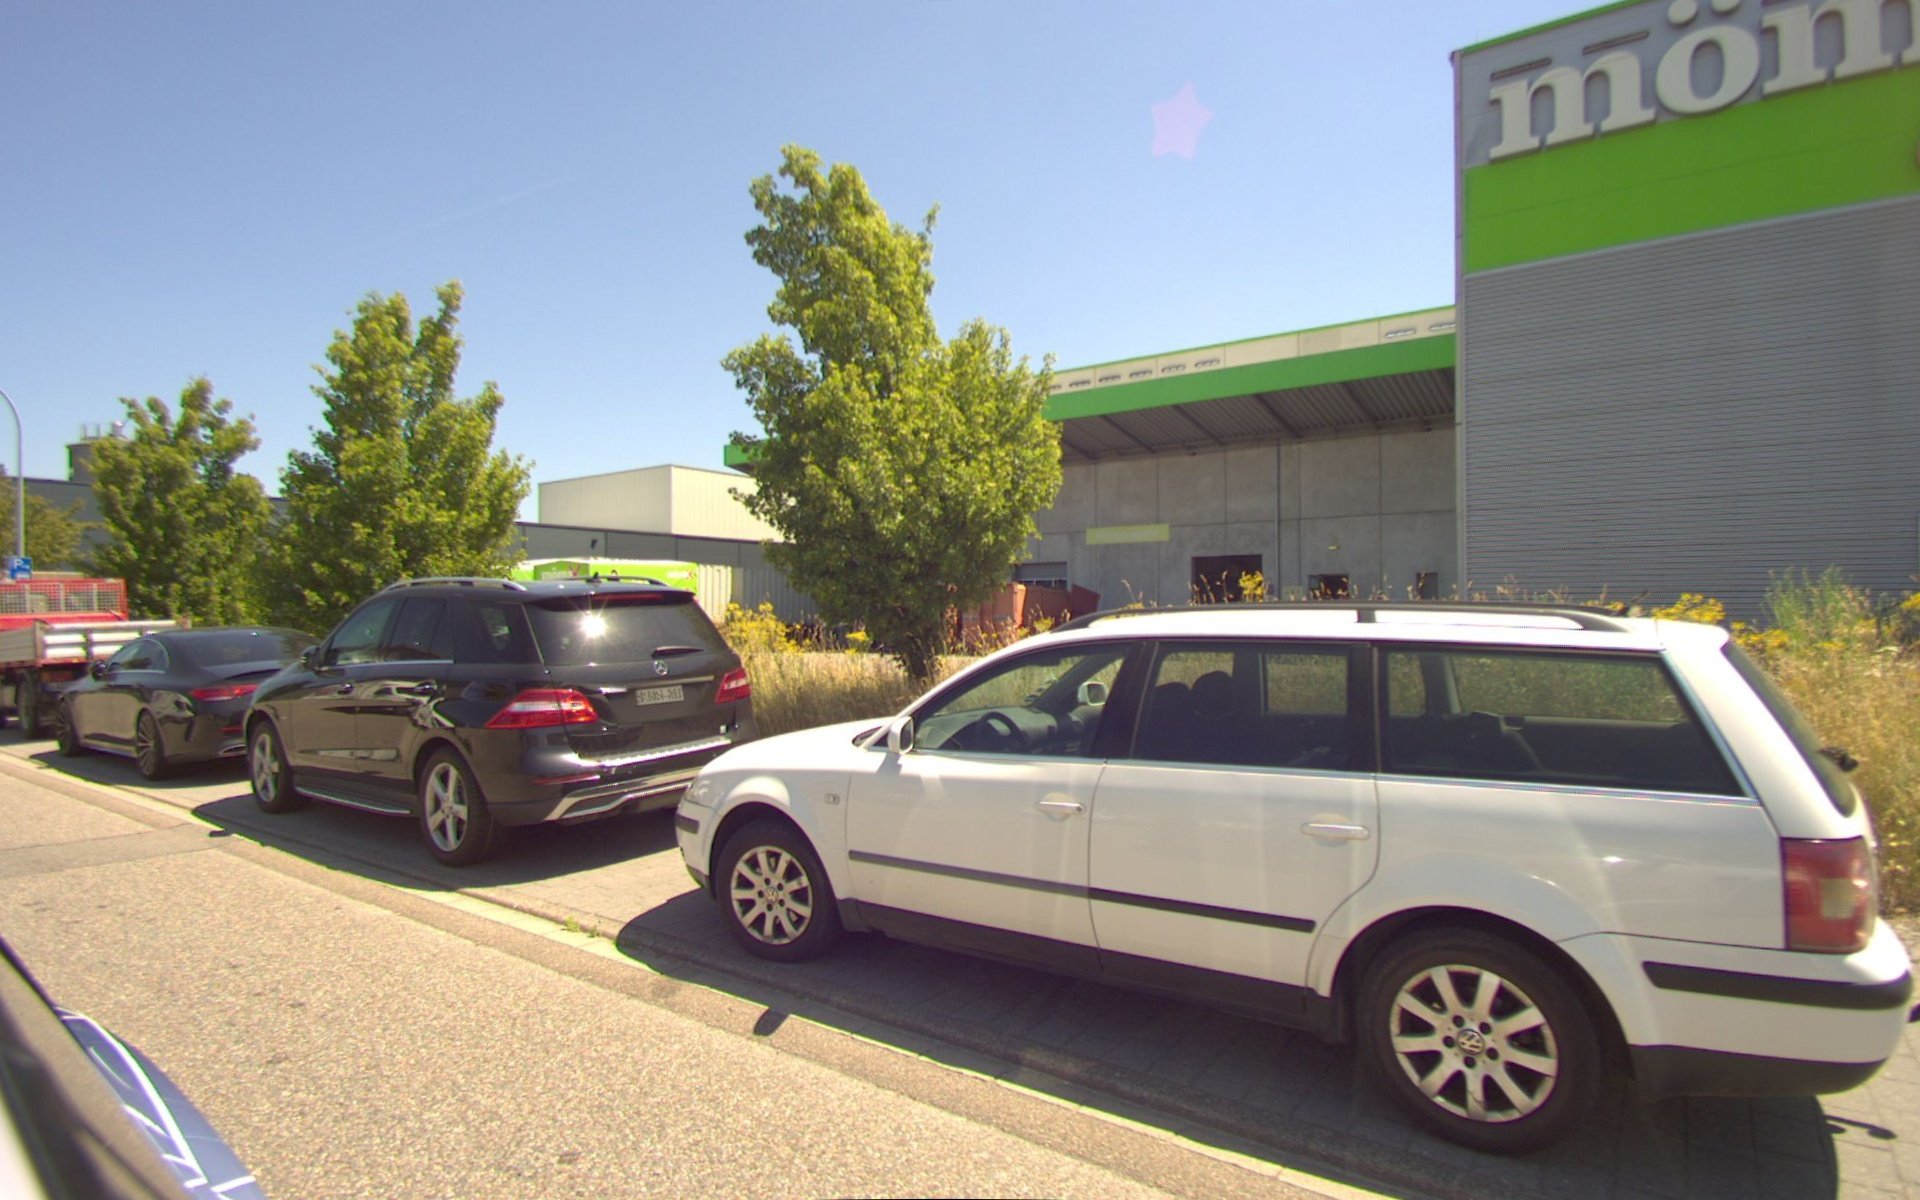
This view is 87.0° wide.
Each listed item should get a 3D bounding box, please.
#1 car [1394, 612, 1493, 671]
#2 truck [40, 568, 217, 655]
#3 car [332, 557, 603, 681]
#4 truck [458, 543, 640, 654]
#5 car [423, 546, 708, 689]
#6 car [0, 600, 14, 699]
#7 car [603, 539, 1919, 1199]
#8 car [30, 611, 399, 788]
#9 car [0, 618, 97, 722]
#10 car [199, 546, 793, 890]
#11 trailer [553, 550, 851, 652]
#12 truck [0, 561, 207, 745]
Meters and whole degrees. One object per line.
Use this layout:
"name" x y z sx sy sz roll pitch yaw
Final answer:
"car" 13.094 1.067 27.298 1.853 1.459 3.722 -1 -1 35
"truck" -40.831 0.579 49.946 3.138 4.001 6.004 -1 -1 24
"car" -12.658 0.461 26.466 2.515 2.846 5.922 -1 -1 35
"truck" -16.504 0.042 40.949 3.213 4.119 6.050 -1 -2 36
"car" -9.162 0.382 24.099 2.515 2.948 5.922 -1 -1 35
"car" -21.249 1.031 20.599 5.391 1.915 1.956 -1 0 36
"car" 0.920 0.659 4.019 4.891 1.530 1.836 -1 0 34
"car" -8.048 0.897 10.761 4.744 1.454 1.835 -1 0 36
"car" -16.173 1.120 16.840 3.757 1.562 1.836 -1 0 34
"car" -3.646 0.638 7.460 4.978 1.772 1.834 -1 0 37
"trailer" -11.438 0.240 47.911 3.213 4.119 15.183 -1 -2 36
"truck" -12.693 0.672 14.391 4.636 2.239 1.835 -1 0 36
